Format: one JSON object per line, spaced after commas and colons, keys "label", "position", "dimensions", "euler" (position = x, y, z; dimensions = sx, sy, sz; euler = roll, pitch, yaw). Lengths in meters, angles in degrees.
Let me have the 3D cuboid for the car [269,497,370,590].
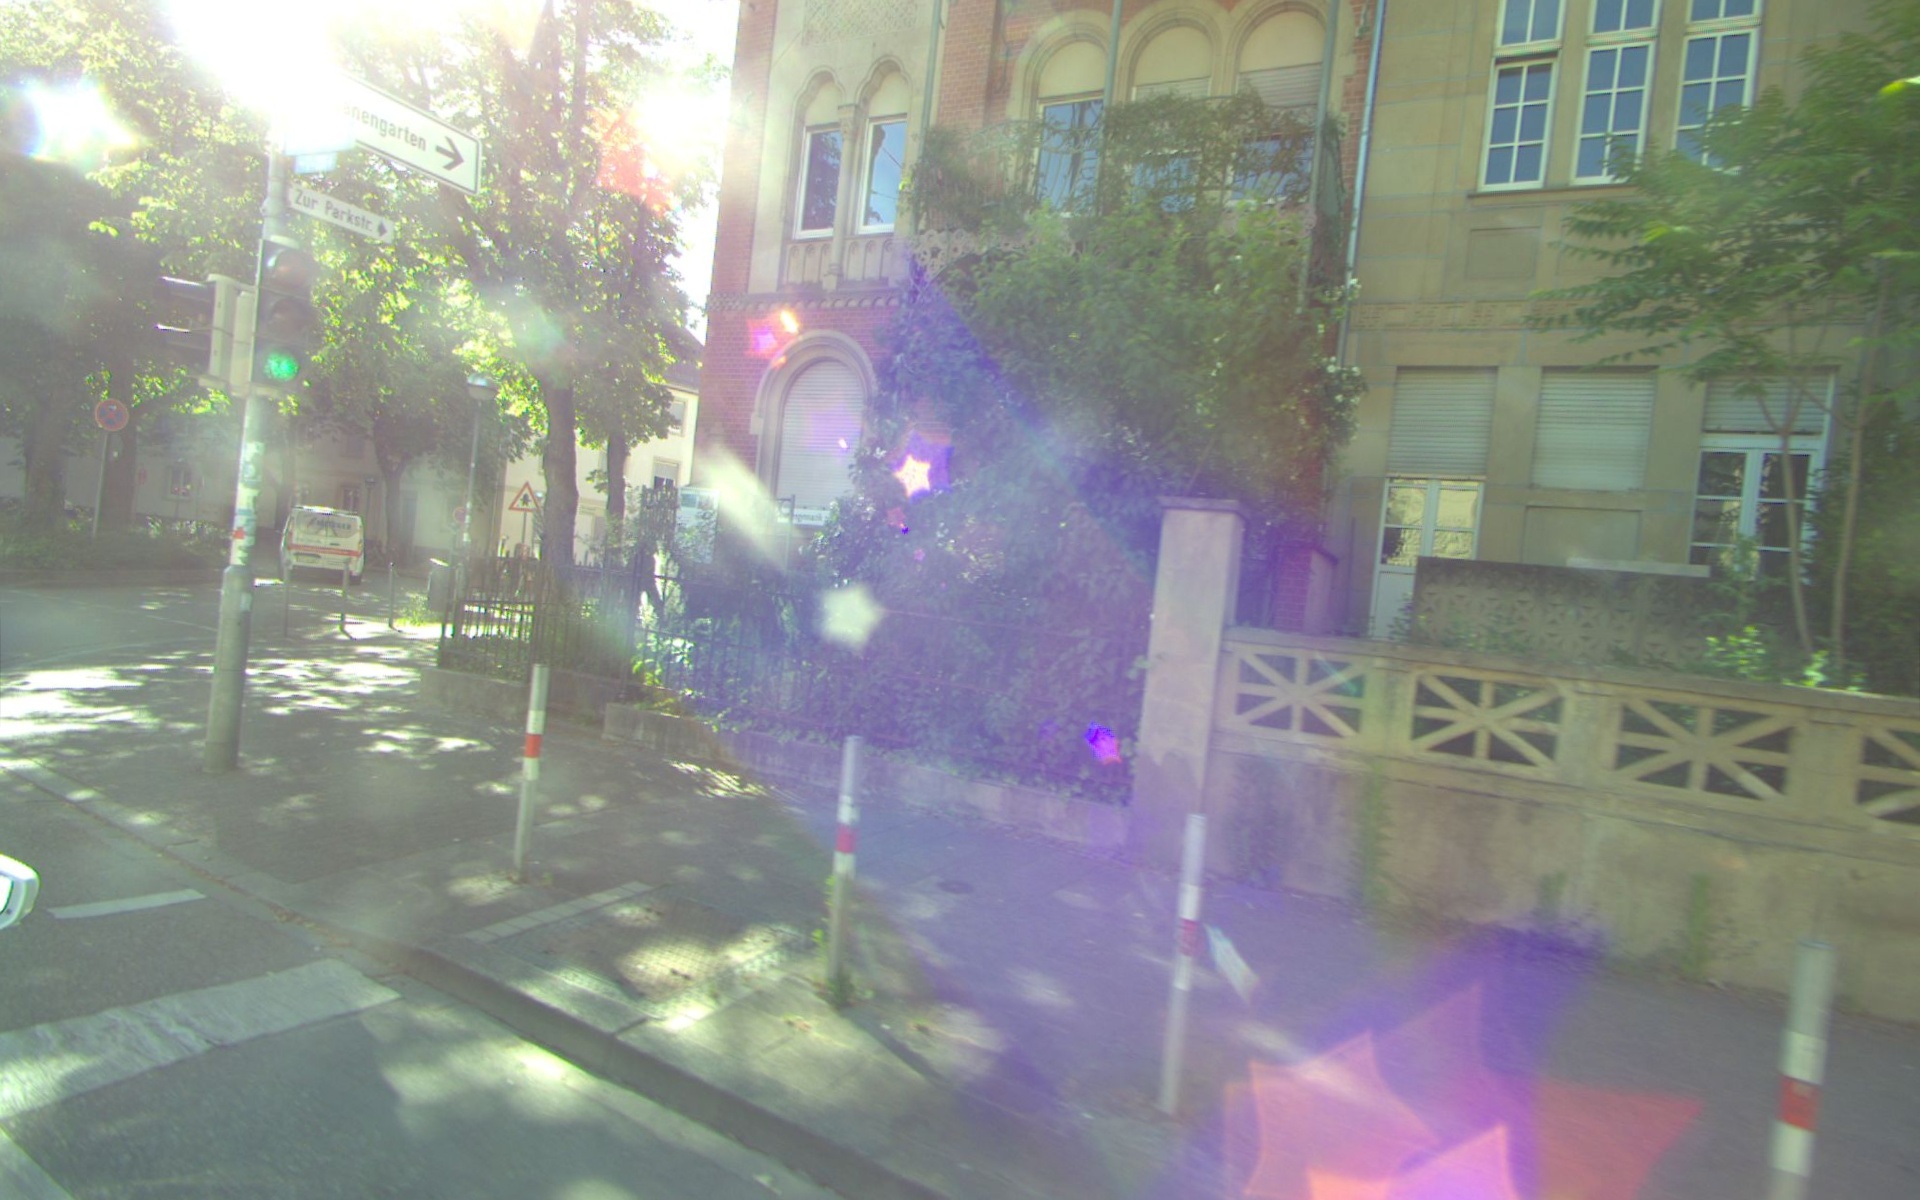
{"label": "car", "position": [-18.527, -1.590, 29.194], "dimensions": [2.104, 2.235, 4.904], "euler": [7, -1, -32]}
